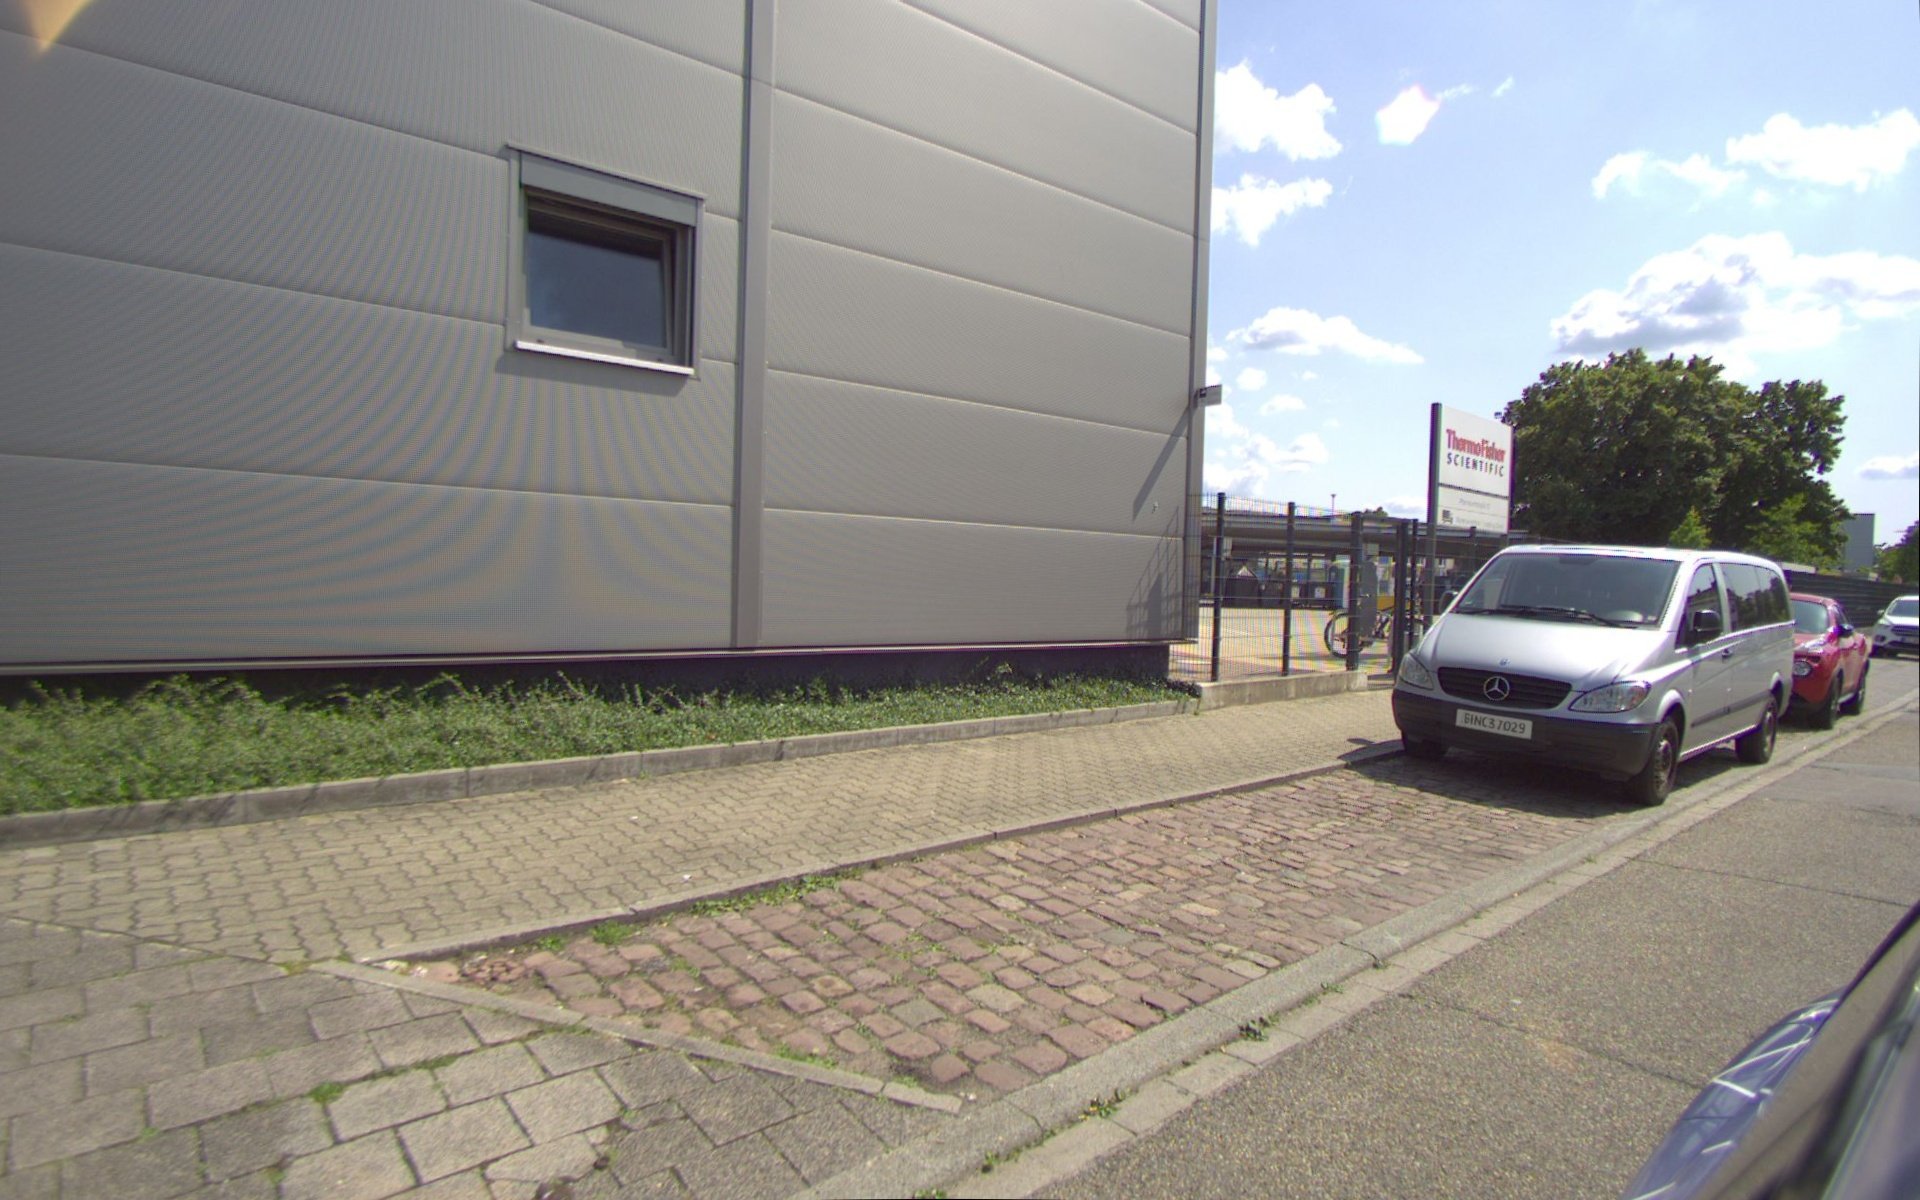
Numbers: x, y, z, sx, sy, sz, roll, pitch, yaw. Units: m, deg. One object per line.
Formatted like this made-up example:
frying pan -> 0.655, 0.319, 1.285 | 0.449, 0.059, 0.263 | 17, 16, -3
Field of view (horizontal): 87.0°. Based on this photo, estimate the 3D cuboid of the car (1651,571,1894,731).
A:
car -> 10.582, 0.529, 13.079 | 4.022, 1.643, 1.708 | 0, 5, -42

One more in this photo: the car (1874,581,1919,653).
car -> 25.444, 0.474, 26.264 | 4.598, 1.713, 1.940 | 0, 4, -41

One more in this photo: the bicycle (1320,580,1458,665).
bicycle -> 6.640, 0.313, 15.764 | 0.449, 1.157, 1.956 | 1, 3, -38

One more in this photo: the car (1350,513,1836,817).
car -> 5.808, 0.363, 8.994 | 5.055, 1.925, 2.060 | 0, 5, -40
